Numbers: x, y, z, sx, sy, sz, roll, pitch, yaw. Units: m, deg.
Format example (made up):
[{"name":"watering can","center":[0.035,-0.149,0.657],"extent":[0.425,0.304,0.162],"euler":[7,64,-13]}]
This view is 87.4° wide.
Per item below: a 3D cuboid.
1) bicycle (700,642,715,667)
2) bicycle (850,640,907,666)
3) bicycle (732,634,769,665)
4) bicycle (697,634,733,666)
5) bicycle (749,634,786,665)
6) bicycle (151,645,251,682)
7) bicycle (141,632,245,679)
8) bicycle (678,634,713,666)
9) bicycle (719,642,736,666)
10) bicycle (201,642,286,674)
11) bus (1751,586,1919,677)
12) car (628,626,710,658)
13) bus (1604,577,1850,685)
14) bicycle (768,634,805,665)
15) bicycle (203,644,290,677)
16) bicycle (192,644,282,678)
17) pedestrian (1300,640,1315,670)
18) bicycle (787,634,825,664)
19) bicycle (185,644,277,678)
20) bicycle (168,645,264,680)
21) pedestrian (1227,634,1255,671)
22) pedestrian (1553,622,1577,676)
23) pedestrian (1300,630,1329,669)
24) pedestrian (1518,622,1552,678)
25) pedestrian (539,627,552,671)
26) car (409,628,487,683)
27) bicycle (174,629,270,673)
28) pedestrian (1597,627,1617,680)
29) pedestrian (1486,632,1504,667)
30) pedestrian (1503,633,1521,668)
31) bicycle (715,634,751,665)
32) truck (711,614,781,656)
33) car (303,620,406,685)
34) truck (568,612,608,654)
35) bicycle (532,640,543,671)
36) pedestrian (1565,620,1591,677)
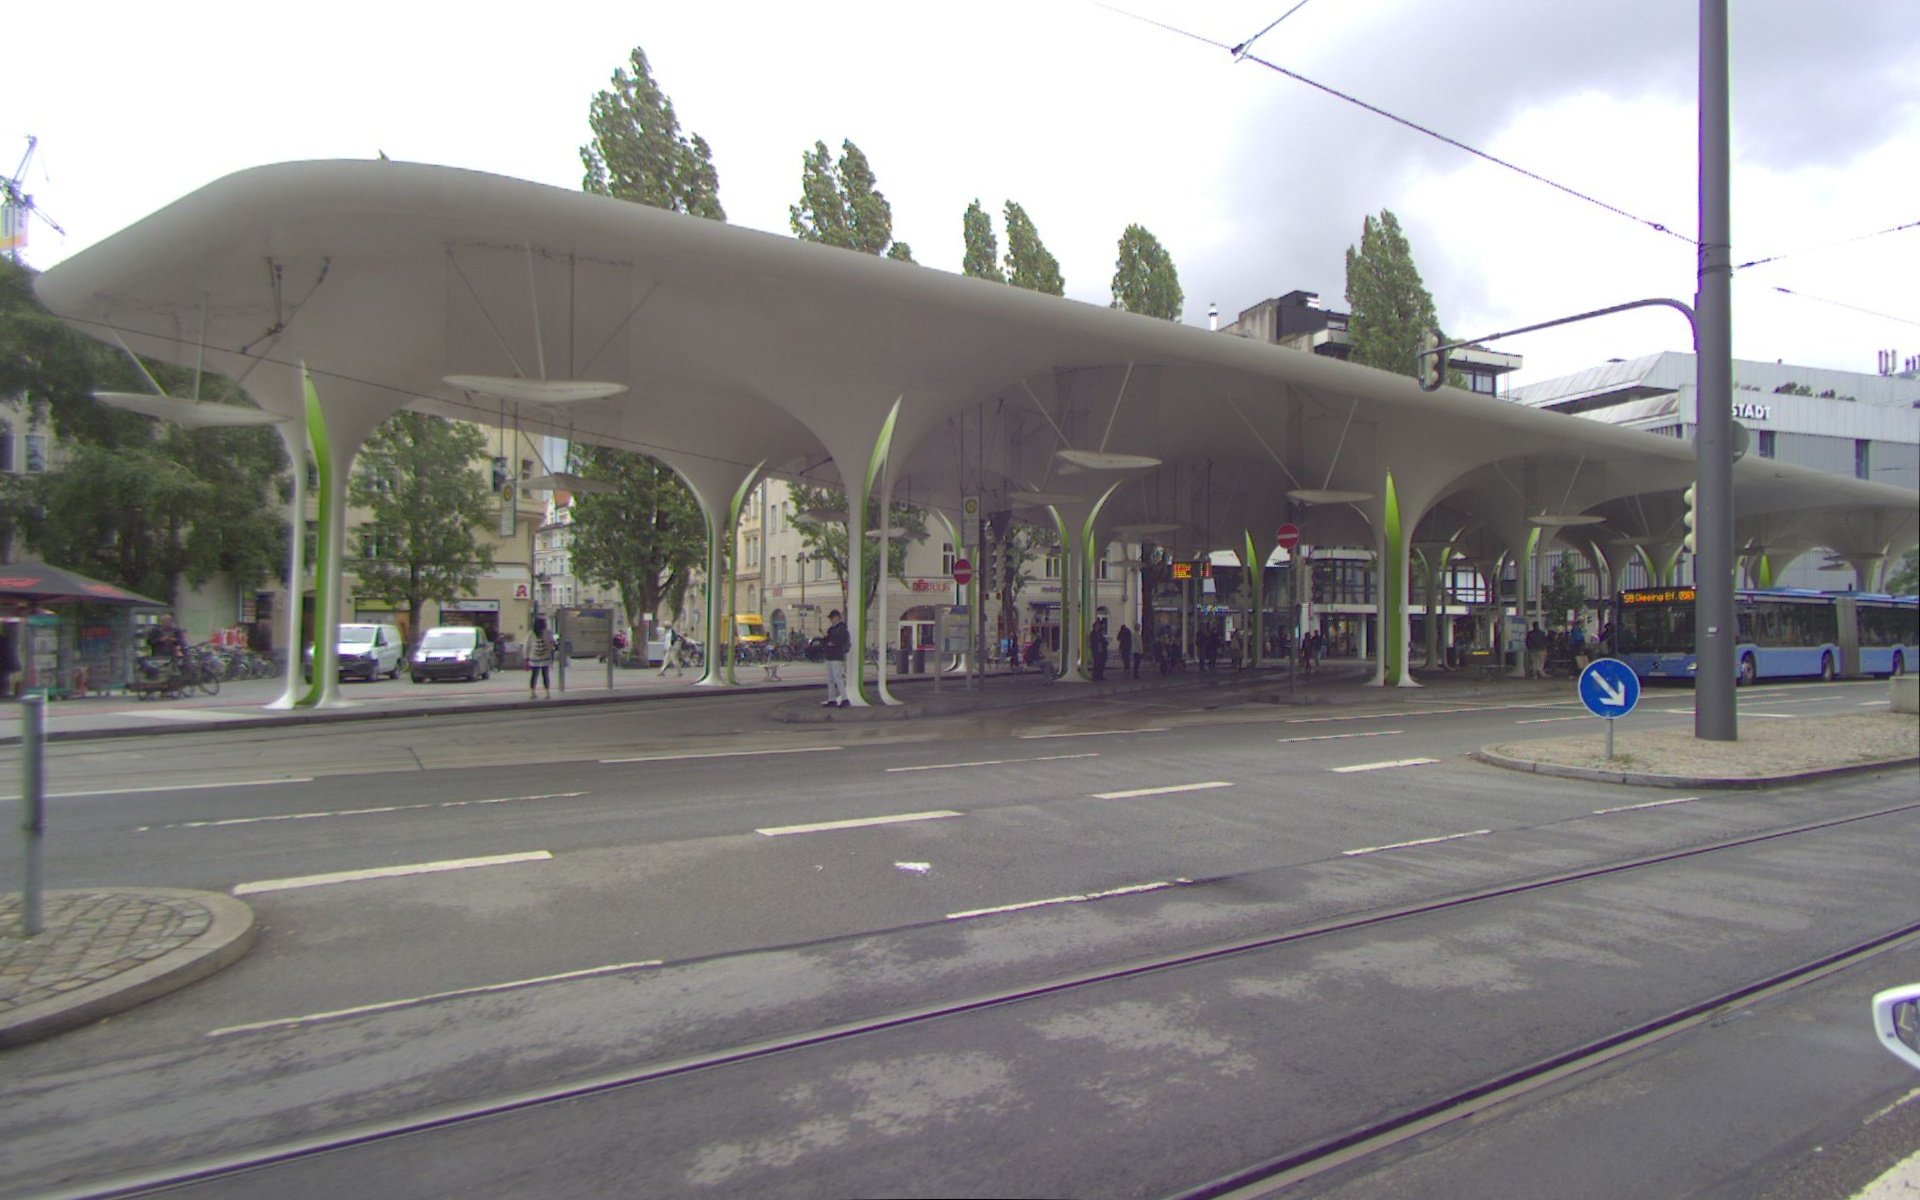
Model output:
[{"name":"bicycle","center":[-12.664,2.709,50.337],"extent":[0.726,1.149,2.677],"euler":[1,-1,-14]},{"name":"bicycle","center":[-4.166,2.711,51.304],"extent":[2.886,1.331,0.841],"euler":[0,-1,-6]},{"name":"bicycle","center":[-11.819,2.776,56.563],"extent":[0.989,1.634,3.598],"euler":[1,-1,-29]},{"name":"bicycle","center":[-13.595,2.738,55.657],"extent":[0.989,1.634,3.598],"euler":[1,-1,-29]},{"name":"bicycle","center":[-10.968,2.794,57.108],"extent":[0.989,1.634,3.598],"euler":[1,-1,-29]},{"name":"bicycle","center":[-24.532,2.053,32.537],"extent":[2.494,1.145,0.639],"euler":[1,-2,-30]},{"name":"bicycle","center":[-24.326,1.756,31.932],"extent":[2.533,1.440,0.631],"euler":[1,-1,-30]},{"name":"bicycle","center":[-14.561,2.717,55.178],"extent":[0.989,1.634,3.598],"euler":[1,-1,-29]},{"name":"bicycle","center":[-11.752,2.729,50.745],"extent":[0.726,1.149,2.677],"euler":[1,-1,-14]},{"name":"bicycle","center":[-26.583,2.154,37.332],"extent":[2.494,1.145,0.639],"euler":[1,-1,-30]},{"name":"bus","center":[32.364,1.193,36.790],"extent":[7.423,3.046,2.649],"euler":[1,-3,-30]},{"name":"car","center":[-17.862,2.587,61.737],"extent":[4.727,1.945,1.993],"euler":[1,-2,-18]},{"name":"bus","center":[24.769,1.035,32.205],"extent":[10.397,3.046,2.647],"euler":[1,-3,-32]},{"name":"bicycle","center":[-9.983,2.815,57.599],"extent":[0.989,1.634,3.598],"euler":[1,-1,-29]},{"name":"bicycle","center":[-25.896,2.181,36.498],"extent":[2.494,1.145,0.639],"euler":[1,-2,-30]},{"name":"bicycle","center":[-25.508,2.127,35.506],"extent":[2.494,1.145,0.639],"euler":[1,-2,-30]},{"name":"pedestrian","center":[15.001,2.390,43.373],"extent":[0.563,1.282,0.520],"euler":[0,-1,11]},{"name":"bicycle","center":[-8.958,2.836,58.252],"extent":[0.989,1.634,3.598],"euler":[1,-1,-29]},{"name":"bicycle","center":[-25.190,2.100,34.770],"extent":[2.494,1.145,0.639],"euler":[1,-1,-30]},{"name":"bicycle","center":[-24.726,2.066,33.452],"extent":[2.494,1.145,0.639],"euler":[1,-1,-30]},{"name":"pedestrian","center":[11.670,2.175,41.690],"extent":[0.888,1.528,0.738],"euler":[1,-2,-37]},{"name":"pedestrian","center":[19.752,1.596,32.782],"extent":[0.567,1.756,0.501],"euler":[1,-2,-38]},{"name":"pedestrian","center":[16.159,2.267,45.807],"extent":[0.883,1.753,0.868],"euler":[1,-2,-25]},{"name":"pedestrian","center":[18.299,1.583,31.961],"extent":[0.875,1.744,0.707],"euler":[1,-2,-43]},{"name":"pedestrian","center":[-19.454,2.308,47.161],"extent":[0.452,2.040,0.577],"euler":[1,1,-32]},{"name":"car","center":[-16.463,1.744,32.474],"extent":[1.804,1.637,3.981],"euler":[1,-2,-21]},{"name":"bicycle","center":[-24.993,1.726,34.064],"extent":[2.533,1.440,0.631],"euler":[1,-1,-30]},{"name":"pedestrian","center":[20.195,1.666,31.341],"extent":[0.387,1.626,0.390],"euler":[1,-1,-35]},{"name":"pedestrian","center":[25.310,2.339,47.541],"extent":[0.543,1.632,0.568],"euler":[1,-1,-39]},{"name":"pedestrian","center":[25.685,2.354,46.771],"extent":[0.543,1.632,0.568],"euler":[1,-1,-39]},{"name":"bicycle","center":[-12.693,2.757,56.162],"extent":[0.989,1.634,3.598],"euler":[1,-1,-29]},{"name":"truck","center":[-14.117,2.270,65.866],"extent":[2.412,2.546,7.126],"euler":[1,-2,-30]},{"name":"car","center":[-19.859,1.674,33.161],"extent":[1.841,1.973,4.911],"euler":[1,-2,-19]},{"name":"truck","center":[-24.303,2.133,65.566],"extent":[2.259,2.658,5.324],"euler":[1,-2,-22]},{"name":"bicycle","center":[-20.236,2.650,48.119],"extent":[0.292,1.416,1.131],"euler":[1,1,-31]},{"name":"pedestrian","center":[19.376,1.501,31.469],"extent":[0.558,1.766,0.752],"euler":[-1,-2,42]}]
